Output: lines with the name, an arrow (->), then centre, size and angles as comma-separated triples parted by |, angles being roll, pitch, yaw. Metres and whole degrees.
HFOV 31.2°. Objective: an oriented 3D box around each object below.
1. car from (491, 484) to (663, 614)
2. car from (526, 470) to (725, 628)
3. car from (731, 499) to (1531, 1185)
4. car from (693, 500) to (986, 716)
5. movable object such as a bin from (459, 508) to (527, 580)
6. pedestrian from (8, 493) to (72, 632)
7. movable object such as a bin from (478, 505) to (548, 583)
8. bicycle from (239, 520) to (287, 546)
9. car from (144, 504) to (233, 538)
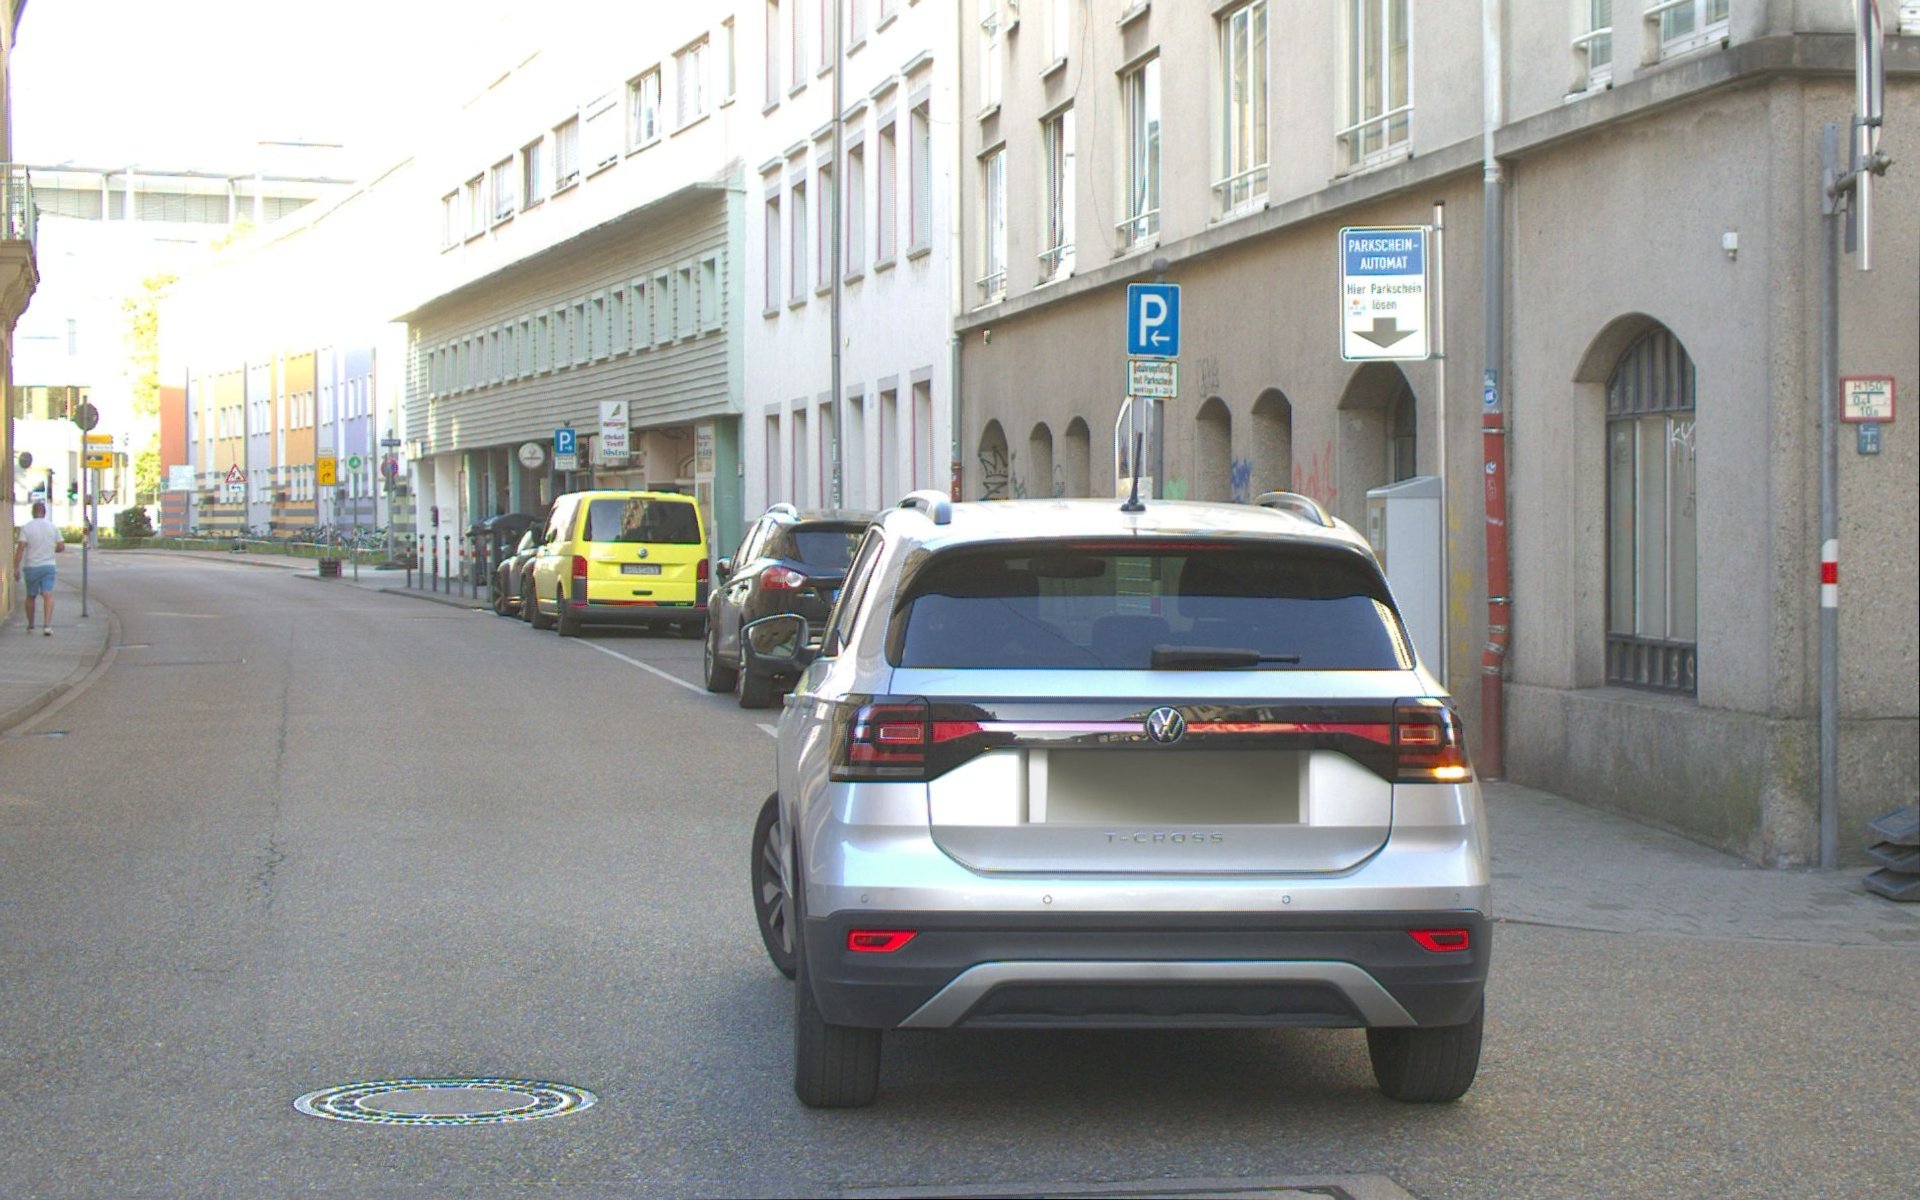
car -> -5.791, -0.788, 51.592 | 2.052, 1.866, 4.102 | 0, 2, -14
car -> -4.510, -0.708, 45.839 | 2.052, 2.006, 4.176 | 0, 2, -14
car -> 0.299, 0.496, 9.910 | 1.836, 1.557, 4.001 | -1, 2, -3
car -> -1.115, 0.009, 29.470 | 1.967, 1.686, 4.102 | 1, 1, -9
movable object such as a bin -> -9.738, -1.170, 71.636 | 1.131, 1.474, 1.740 | 0, 1, -17
pedestrian -> -11.498, -0.471, 42.973 | 0.765, 1.718, 0.687 | 0, 1, -15
movable object such as a bin -> -9.096, -1.149, 69.950 | 1.131, 1.552, 1.740 | 0, 1, -17
bicycle -> -27.154, -2.611, 133.908 | 1.780, 0.997, 0.547 | 0, 1, -15
car -> -38.856, -3.993, 173.197 | 4.063, 1.663, 1.720 | -1, 2, -34
